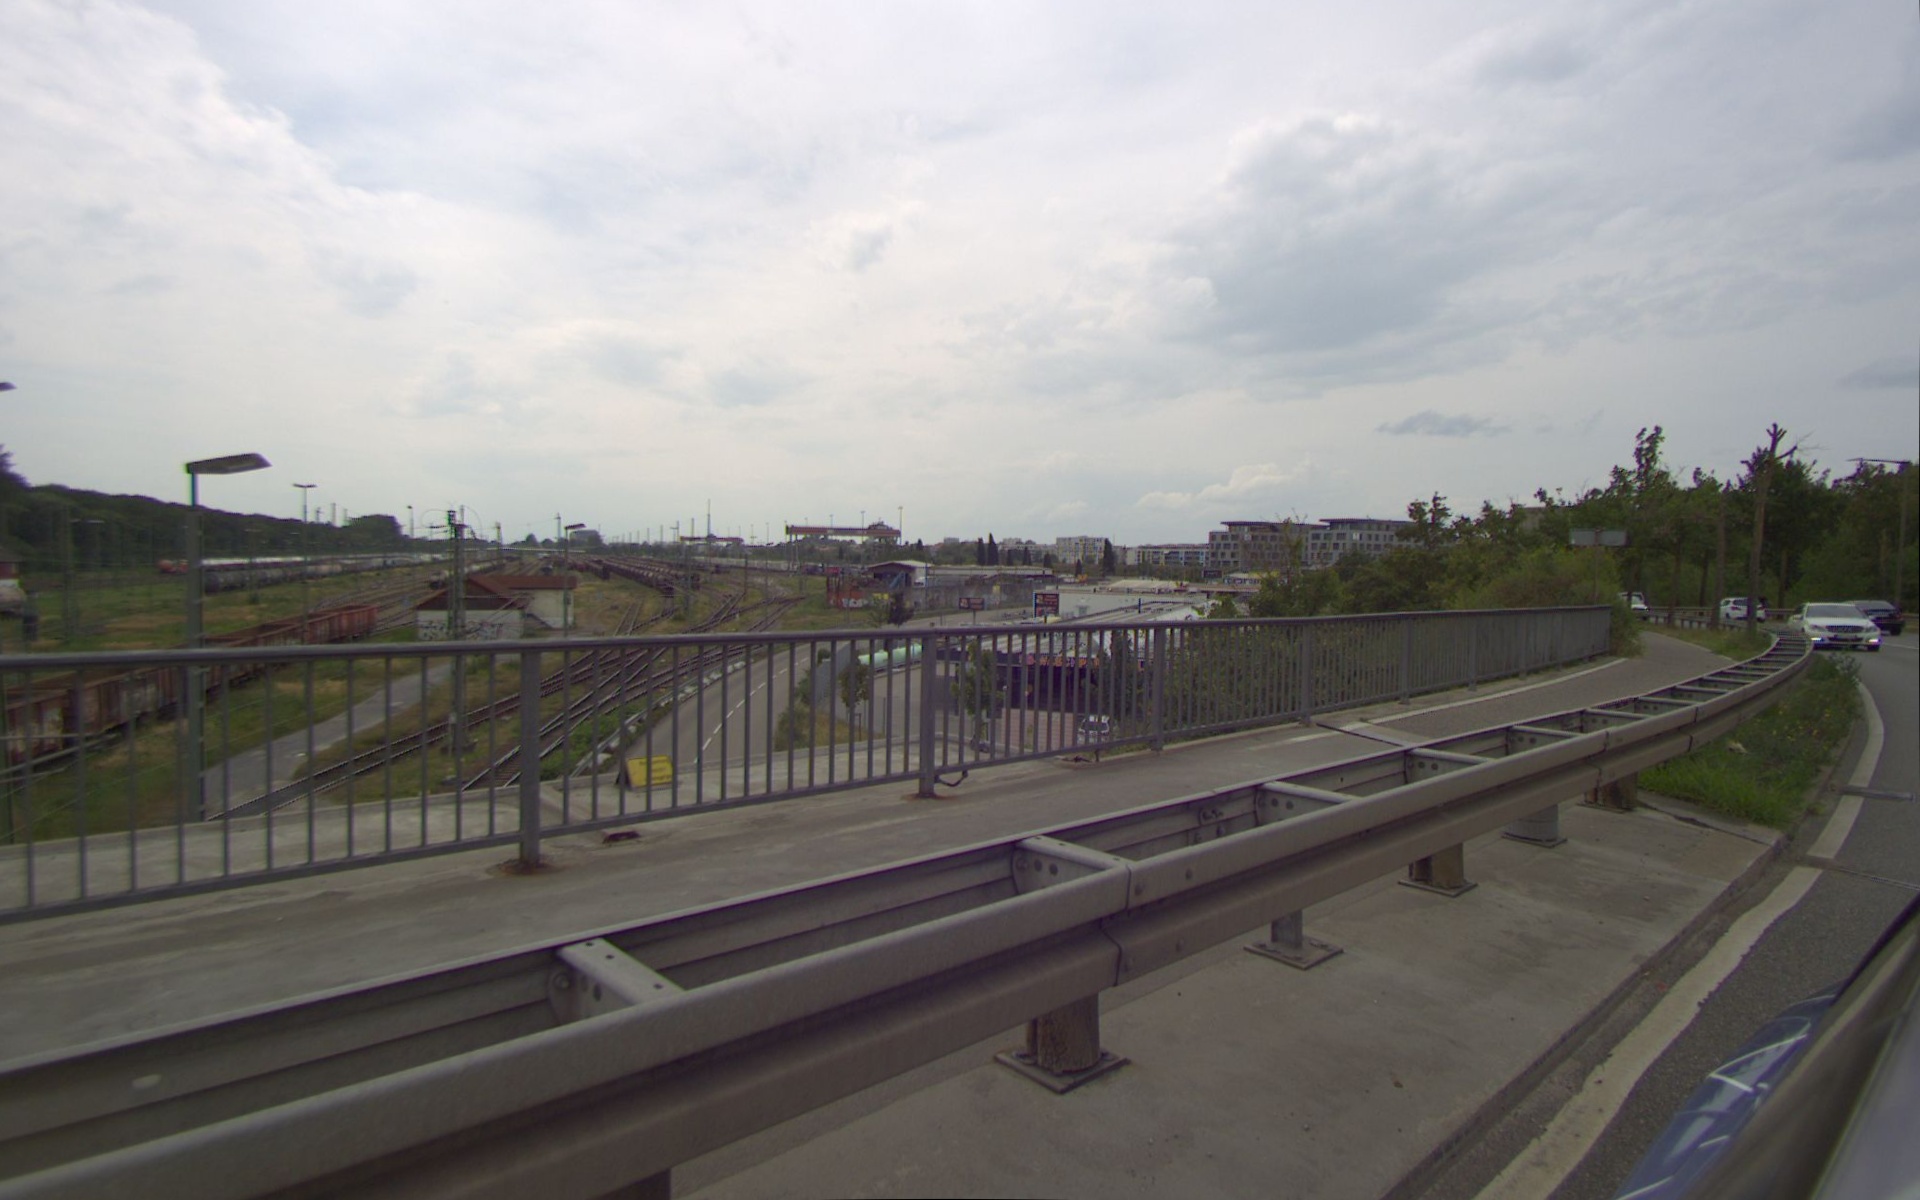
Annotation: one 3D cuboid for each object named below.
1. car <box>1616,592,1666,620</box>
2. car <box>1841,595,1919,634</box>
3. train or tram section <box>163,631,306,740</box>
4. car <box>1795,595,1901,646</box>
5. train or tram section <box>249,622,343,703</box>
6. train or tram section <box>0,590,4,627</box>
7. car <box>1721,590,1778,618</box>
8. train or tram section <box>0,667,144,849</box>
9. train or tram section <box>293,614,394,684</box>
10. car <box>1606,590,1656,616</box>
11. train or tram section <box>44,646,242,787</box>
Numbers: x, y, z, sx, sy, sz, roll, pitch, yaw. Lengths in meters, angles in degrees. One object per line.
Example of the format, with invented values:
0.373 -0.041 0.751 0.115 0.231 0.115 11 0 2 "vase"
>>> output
44.309 0.368 65.942 1.942 1.726 4.395 0 0 24 "car"
38.542 0.569 42.339 1.695 1.515 4.282 -1 0 30 "car"
-50.828 5.578 71.811 3.877 5.712 18.314 -1 1 -22 "train or tram section"
27.408 0.636 31.368 1.925 1.475 3.838 -2 -2 34 "car"
-57.096 5.104 87.617 3.725 5.694 15.596 -1 1 -22 "train or tram section"
-110.791 1.078 112.162 3.185 4.220 11.408 -1 1 -23 "train or tram section"
45.079 0.237 57.844 1.795 1.540 4.389 0 0 28 "car"
-39.689 6.357 42.716 3.763 5.748 13.940 -1 1 -20 "train or tram section"
-64.550 4.722 106.970 3.909 5.548 25.750 -1 1 -20 "train or tram section"
51.105 0.236 77.176 1.936 1.909 4.409 0 0 16 "car"
-44.727 5.947 56.356 3.894 5.747 15.048 -1 1 -20 "train or tram section"
